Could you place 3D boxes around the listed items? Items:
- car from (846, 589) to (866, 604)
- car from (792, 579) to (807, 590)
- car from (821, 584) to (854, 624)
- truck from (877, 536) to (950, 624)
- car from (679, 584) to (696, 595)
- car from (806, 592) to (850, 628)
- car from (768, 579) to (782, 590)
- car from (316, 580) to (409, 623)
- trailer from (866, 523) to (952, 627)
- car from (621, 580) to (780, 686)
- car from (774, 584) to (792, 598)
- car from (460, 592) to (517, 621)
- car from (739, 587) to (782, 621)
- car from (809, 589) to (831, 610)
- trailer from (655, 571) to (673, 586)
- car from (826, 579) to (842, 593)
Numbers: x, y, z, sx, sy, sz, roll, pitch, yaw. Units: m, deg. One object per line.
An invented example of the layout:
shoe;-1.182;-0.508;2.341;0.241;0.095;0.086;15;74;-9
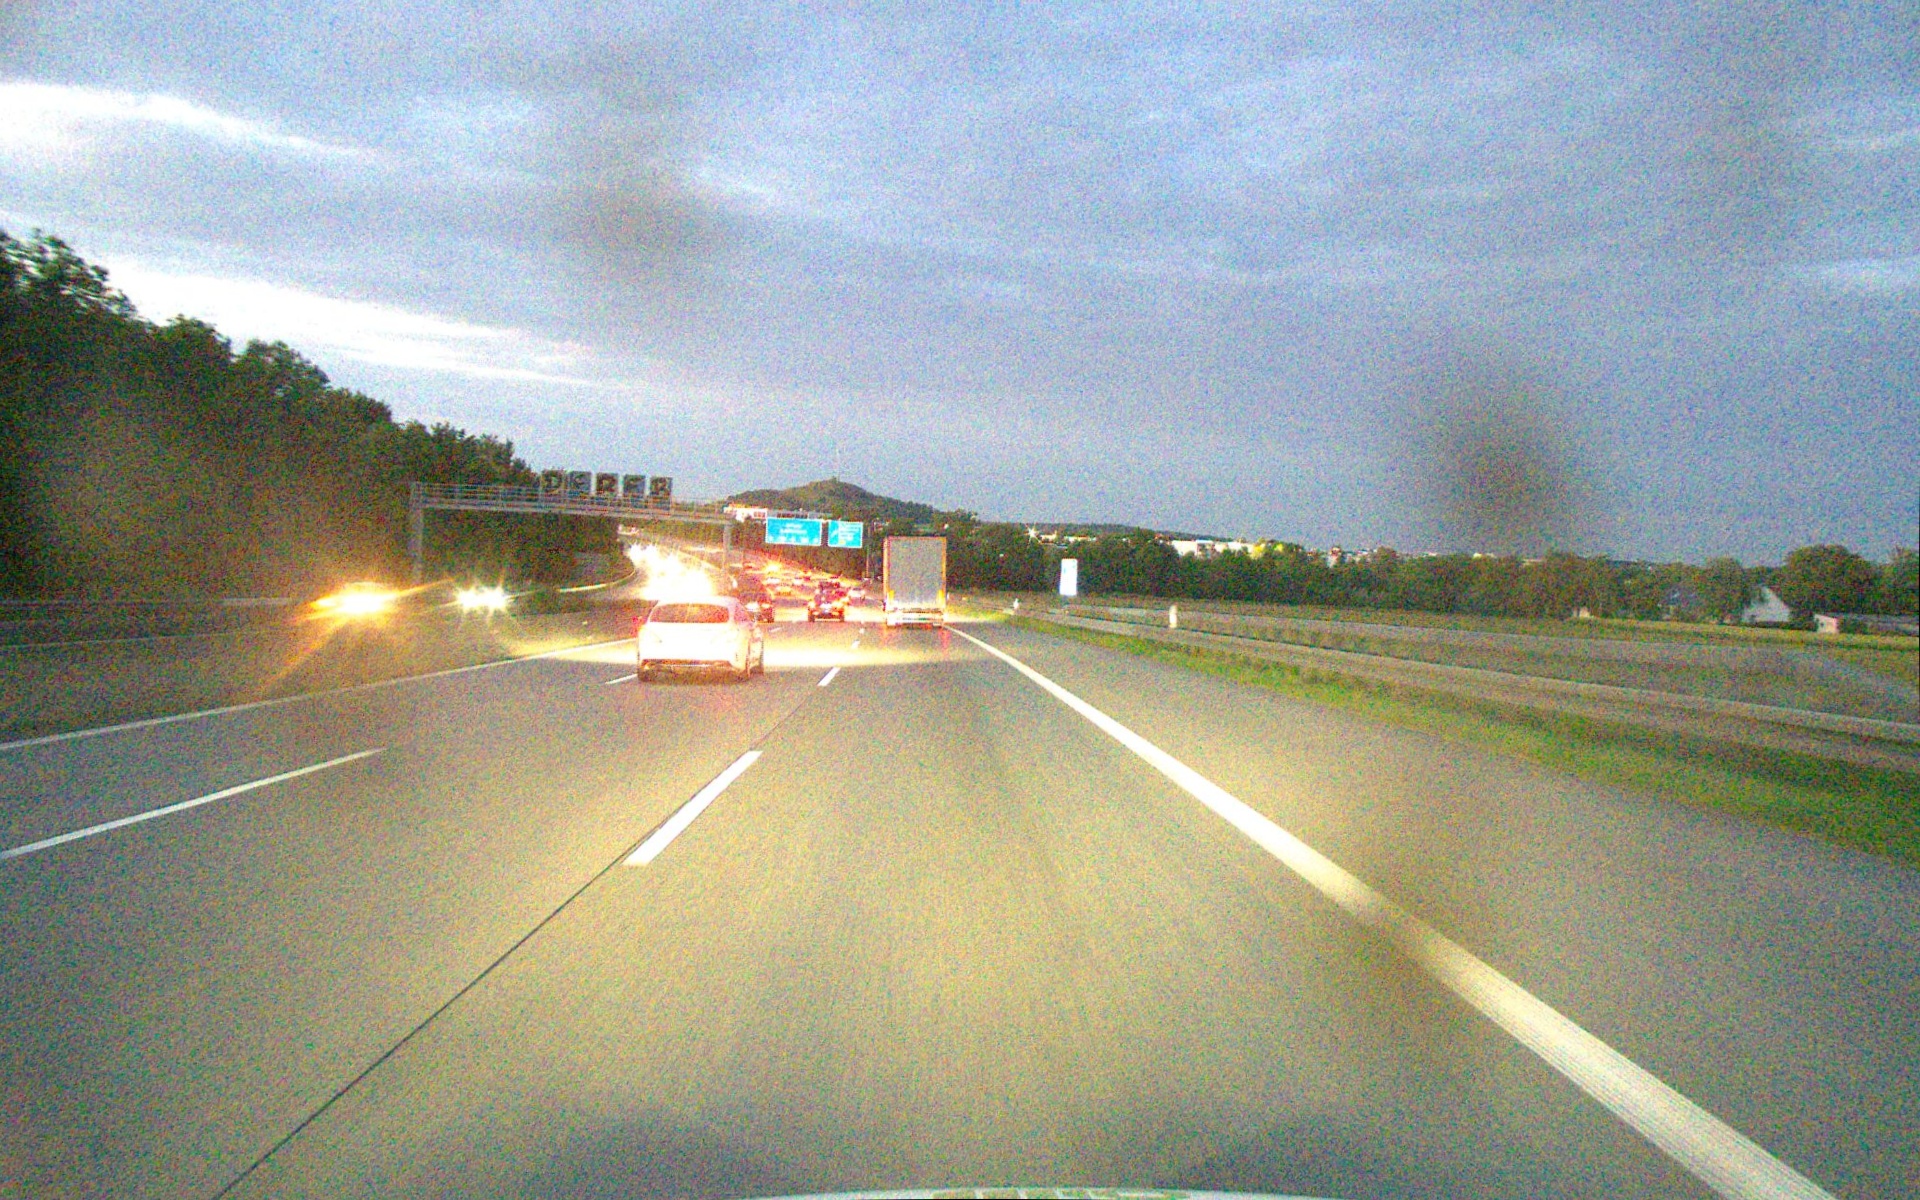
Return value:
car;-10.991;-0.366;174.742;1.955;1.561;3.994;1;0;-6
car;-24.335;-2.319;250.527;1.957;1.650;3.991;1;0;-10
car;-7.664;0.239;103.787;1.954;2.422;3.998;1;0;-3
truck;-2.299;-0.945;82.889;3.478;4.163;6.150;1;0;-1
car;-36.076;-1.427;219.084;1.656;1.378;4.894;1;0;-4
car;-6.697;0.489;84.200;2.024;1.715;4.574;1;0;-3
car;-27.873;-2.301;249.332;1.956;1.494;3.993;1;0;-8
car;-22.652;0.069;62.855;1.953;1.531;4.504;1;0;-2
trailer;-2.208;-0.977;75.618;3.478;4.188;15.059;1;0;-1
car;-4.392;0.526;28.711;1.867;1.642;4.804;1;0;1
car;-20.879;-1.050;195.048;1.955;1.650;3.994;1;0;-6
car;-26.729;0.365;93.980;1.953;1.560;5.004;1;0;-2
car;-9.763;0.178;81.250;1.726;1.602;4.574;1;0;-3
car;-14.045;-0.046;165.714;1.956;2.049;3.993;1;0;-8
trailer;-41.213;-2.972;230.509;1.875;2.037;4.237;3;0;-4
car;-18.623;-2.009;244.031;1.956;2.012;3.992;1;0;-8
